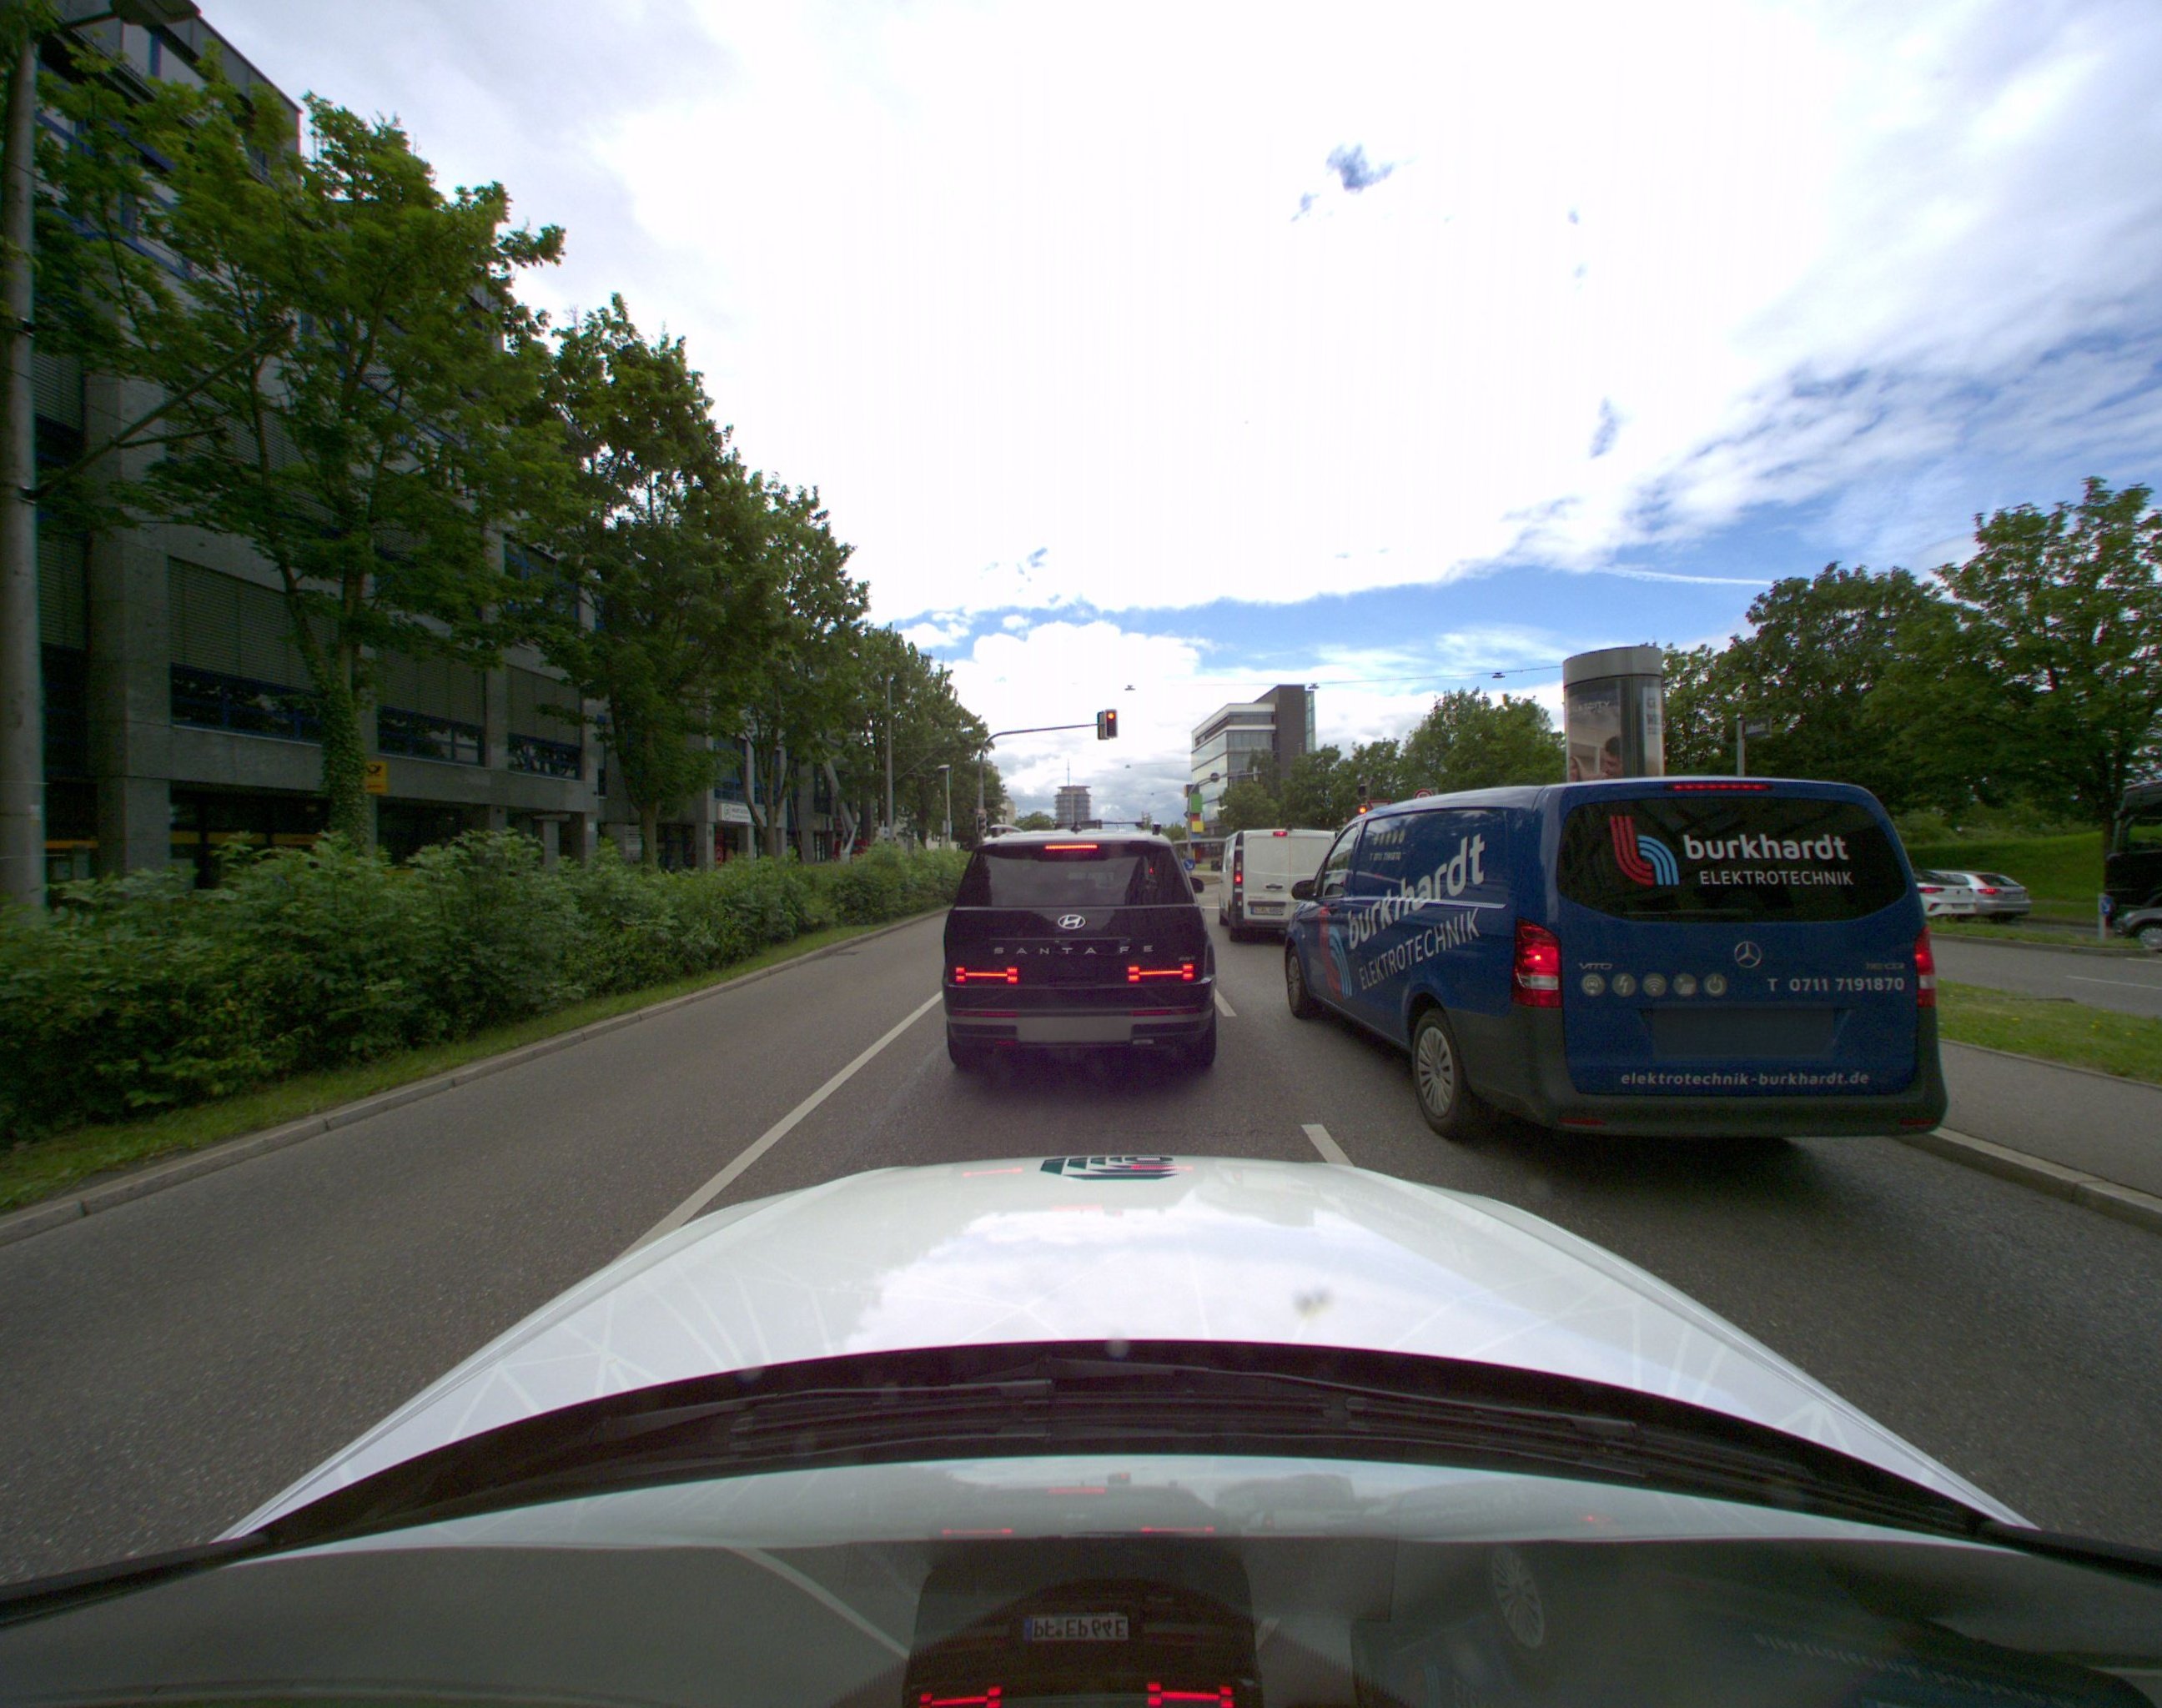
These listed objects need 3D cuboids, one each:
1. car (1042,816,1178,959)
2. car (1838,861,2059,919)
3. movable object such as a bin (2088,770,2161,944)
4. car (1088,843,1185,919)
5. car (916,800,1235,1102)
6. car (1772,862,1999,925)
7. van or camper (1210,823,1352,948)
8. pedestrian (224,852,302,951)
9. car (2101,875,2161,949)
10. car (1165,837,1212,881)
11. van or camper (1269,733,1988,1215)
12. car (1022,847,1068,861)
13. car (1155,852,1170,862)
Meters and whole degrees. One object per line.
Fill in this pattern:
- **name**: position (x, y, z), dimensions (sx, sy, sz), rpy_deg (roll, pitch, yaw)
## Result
- **car**: position (0.476, 0.478, 13.593), dimensions (1.908, 2.003, 3.881), rpy_deg (-1, 0, 2)
- **car**: position (25.096, 0.992, 23.774), dimensions (1.994, 1.453, 3.985), rpy_deg (1, 0, -11)
- **movable object such as a bin**: position (26.257, 0.006, 15.506), dimensions (2.860, 3.903, 8.536), rpy_deg (-1, -1, -11)
- **car**: position (1.517, 0.636, 20.592), dimensions (1.764, 1.717, 4.353), rpy_deg (-1, -1, 12)
- **car**: position (0.029, 0.584, 6.804), dimensions (1.862, 1.760, 3.881), rpy_deg (-1, 0, 2)
- **car**: position (21.763, 1.011, 22.276), dimensions (1.994, 1.453, 3.985), rpy_deg (1, 0, -11)
- **van or camper**: position (3.608, 0.517, 15.548), dimensions (1.983, 2.013, 4.660), rpy_deg (-1, 0, 6)
- **pedestrian**: position (-16.015, 0.918, 15.957), dimensions (0.771, 1.894, 0.731), rpy_deg (-1, -1, 1)
- **car**: position (23.002, 1.215, 15.525), dimensions (1.994, 1.453, 3.985), rpy_deg (1, 0, -11)
- **car**: position (5.284, 0.258, 40.492), dimensions (1.985, 2.014, 4.003), rpy_deg (-1, -1, 3)
- **van or camper**: position (2.787, 0.490, 5.815), dimensions (1.853, 1.911, 5.034), rpy_deg (-1, 0, 2)
- **car**: position (-4.233, 0.026, 94.612), dimensions (5.271, 1.596, 1.997), rpy_deg (-1, -1, -4)
- **car**: position (13.164, 0.487, 131.712), dimensions (1.987, 1.684, 3.998), rpy_deg (-1, -1, -1)
